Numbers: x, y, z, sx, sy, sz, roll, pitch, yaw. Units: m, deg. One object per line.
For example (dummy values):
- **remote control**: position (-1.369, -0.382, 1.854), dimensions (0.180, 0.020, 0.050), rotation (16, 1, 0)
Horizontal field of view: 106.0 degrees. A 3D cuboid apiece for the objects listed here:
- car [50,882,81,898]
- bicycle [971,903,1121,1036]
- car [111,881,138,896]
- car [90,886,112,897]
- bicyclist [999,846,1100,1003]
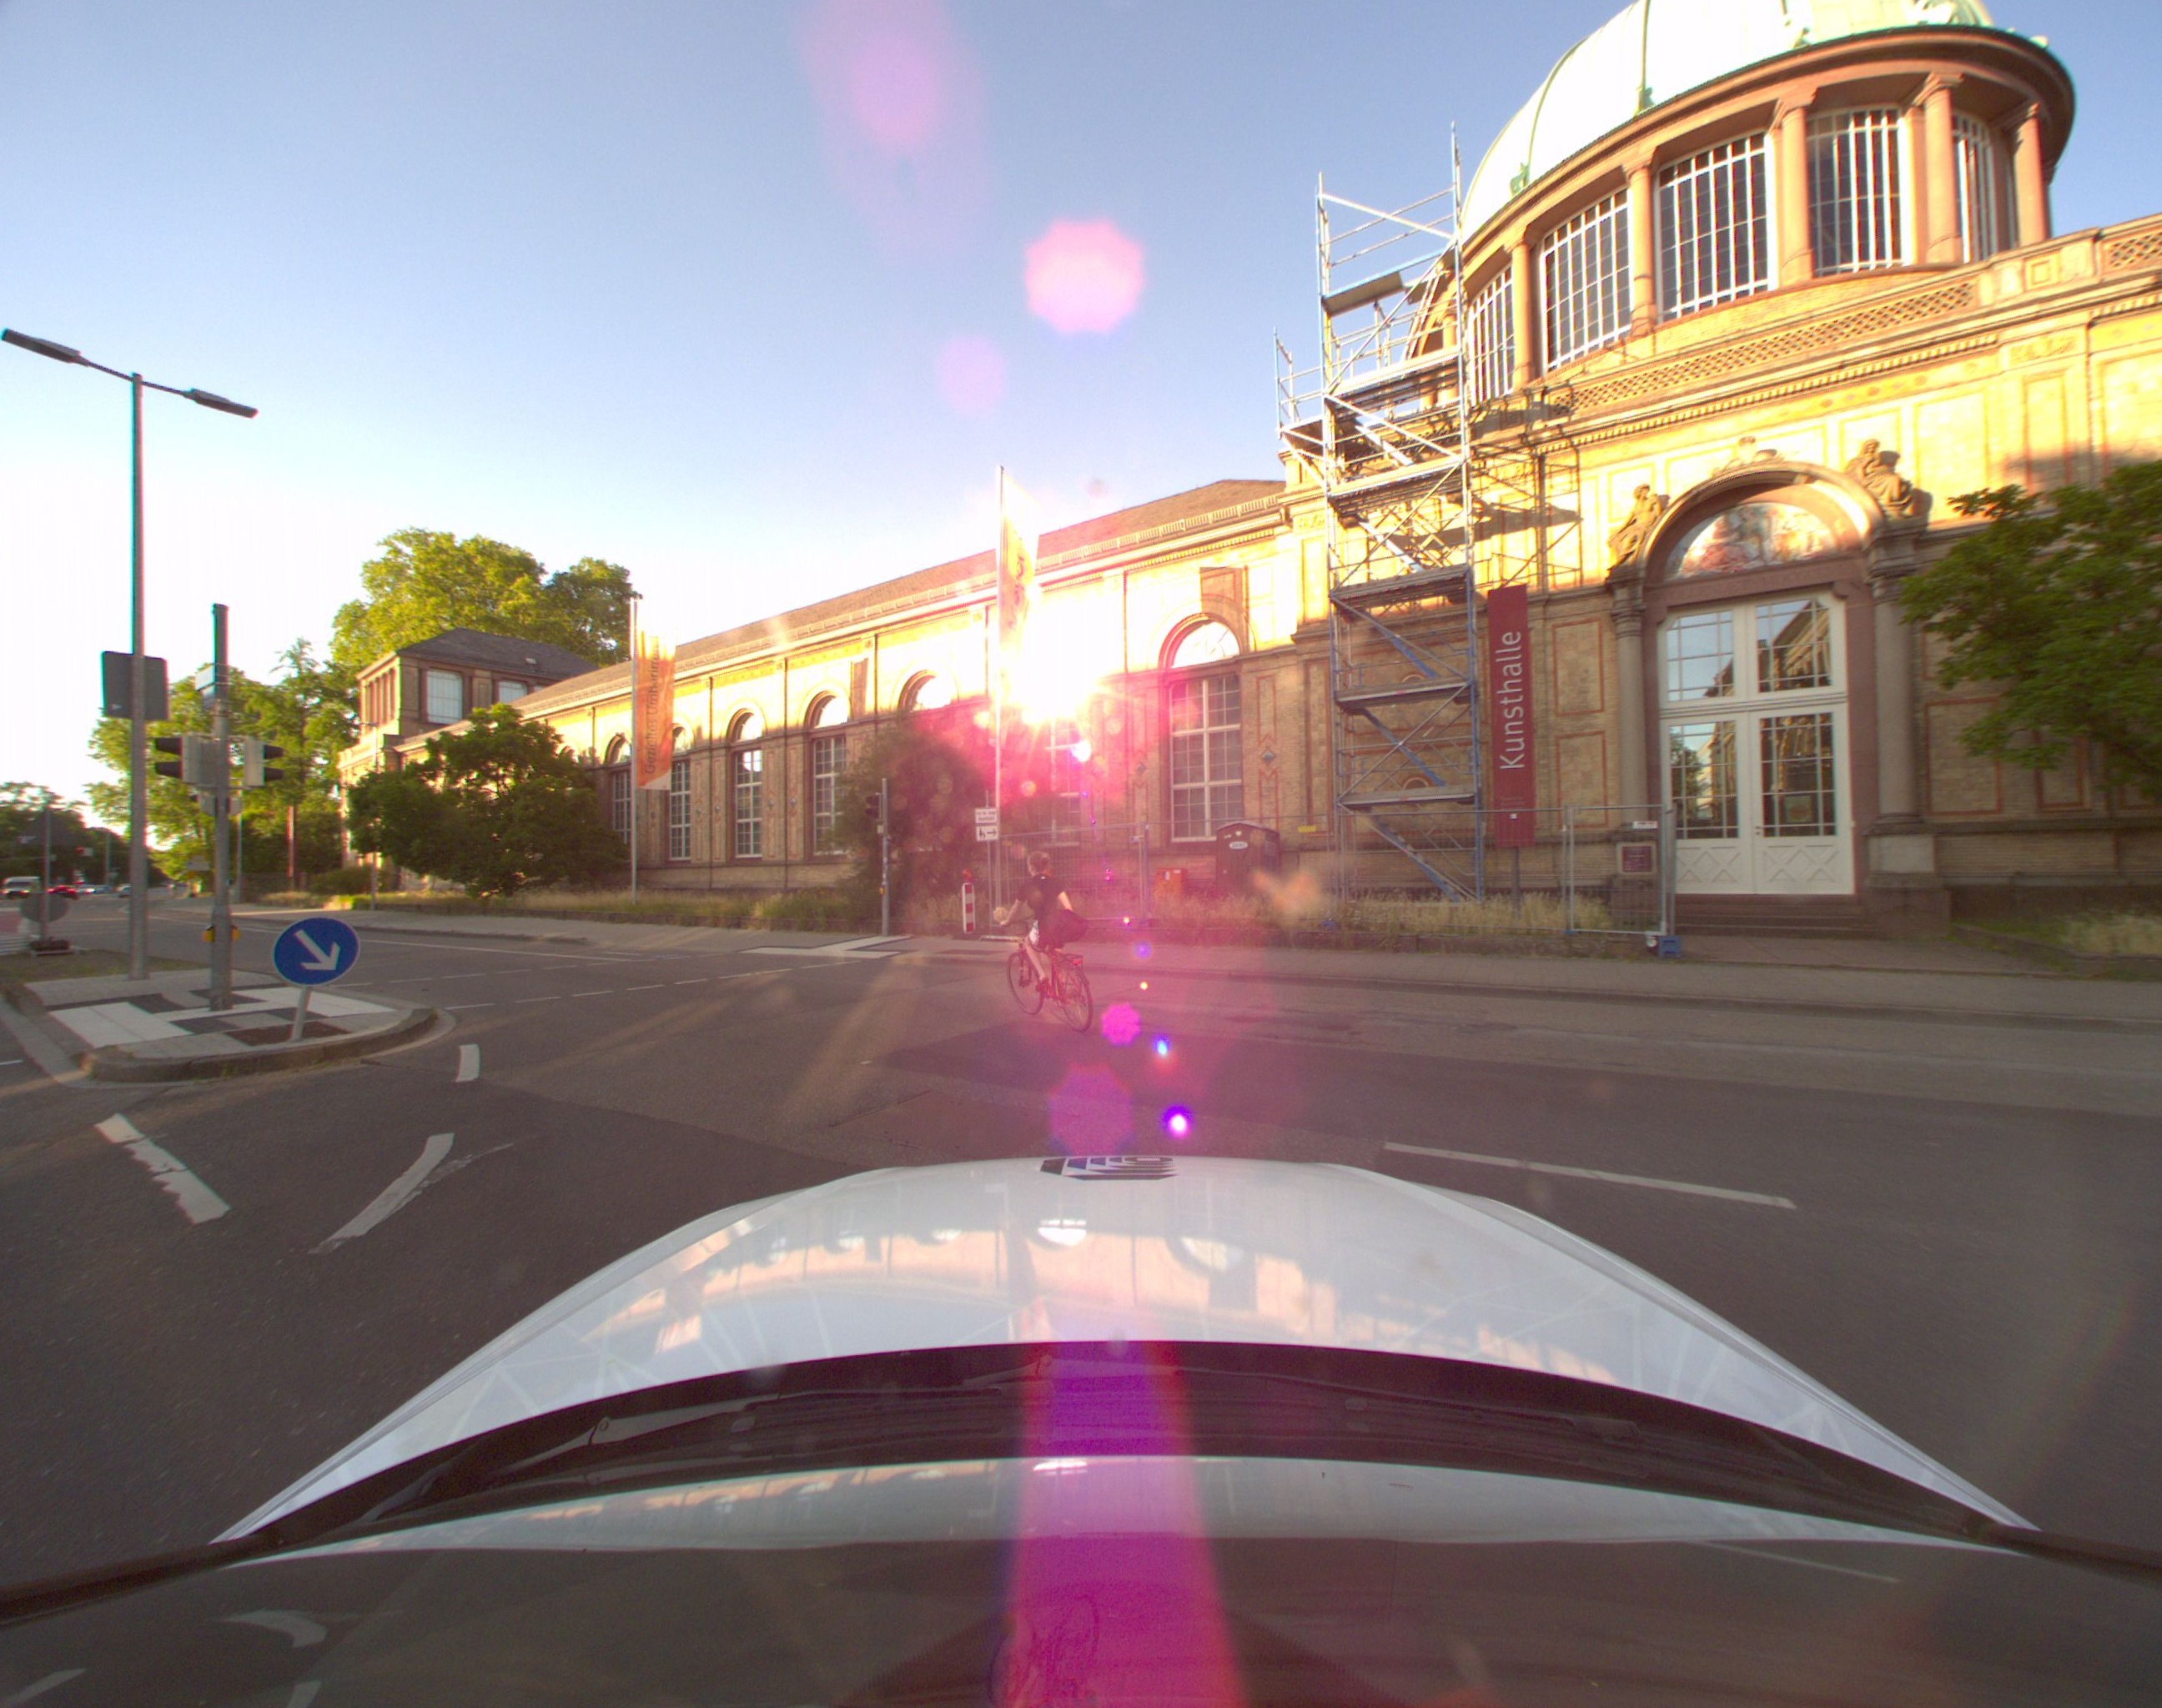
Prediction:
- **car**: position (-109.598, 3.870, 87.878), dimensions (3.948, 1.720, 2.013), rotation (-2, -1, 38)
- **bicycle**: position (-0.430, 1.115, 8.477), dimensions (0.716, 1.156, 2.049), rotation (1, -3, -30)
- **car**: position (-114.854, 4.106, 97.823), dimensions (3.949, 1.720, 2.012), rotation (-2, -1, 41)
- **car**: position (-152.159, 5.816, 126.472), dimensions (3.949, 1.720, 2.012), rotation (-2, -1, 43)
- **bicyclist**: position (-0.334, 0.692, 8.345), dimensions (0.720, 1.503, 0.842), rotation (1, -3, -30)
